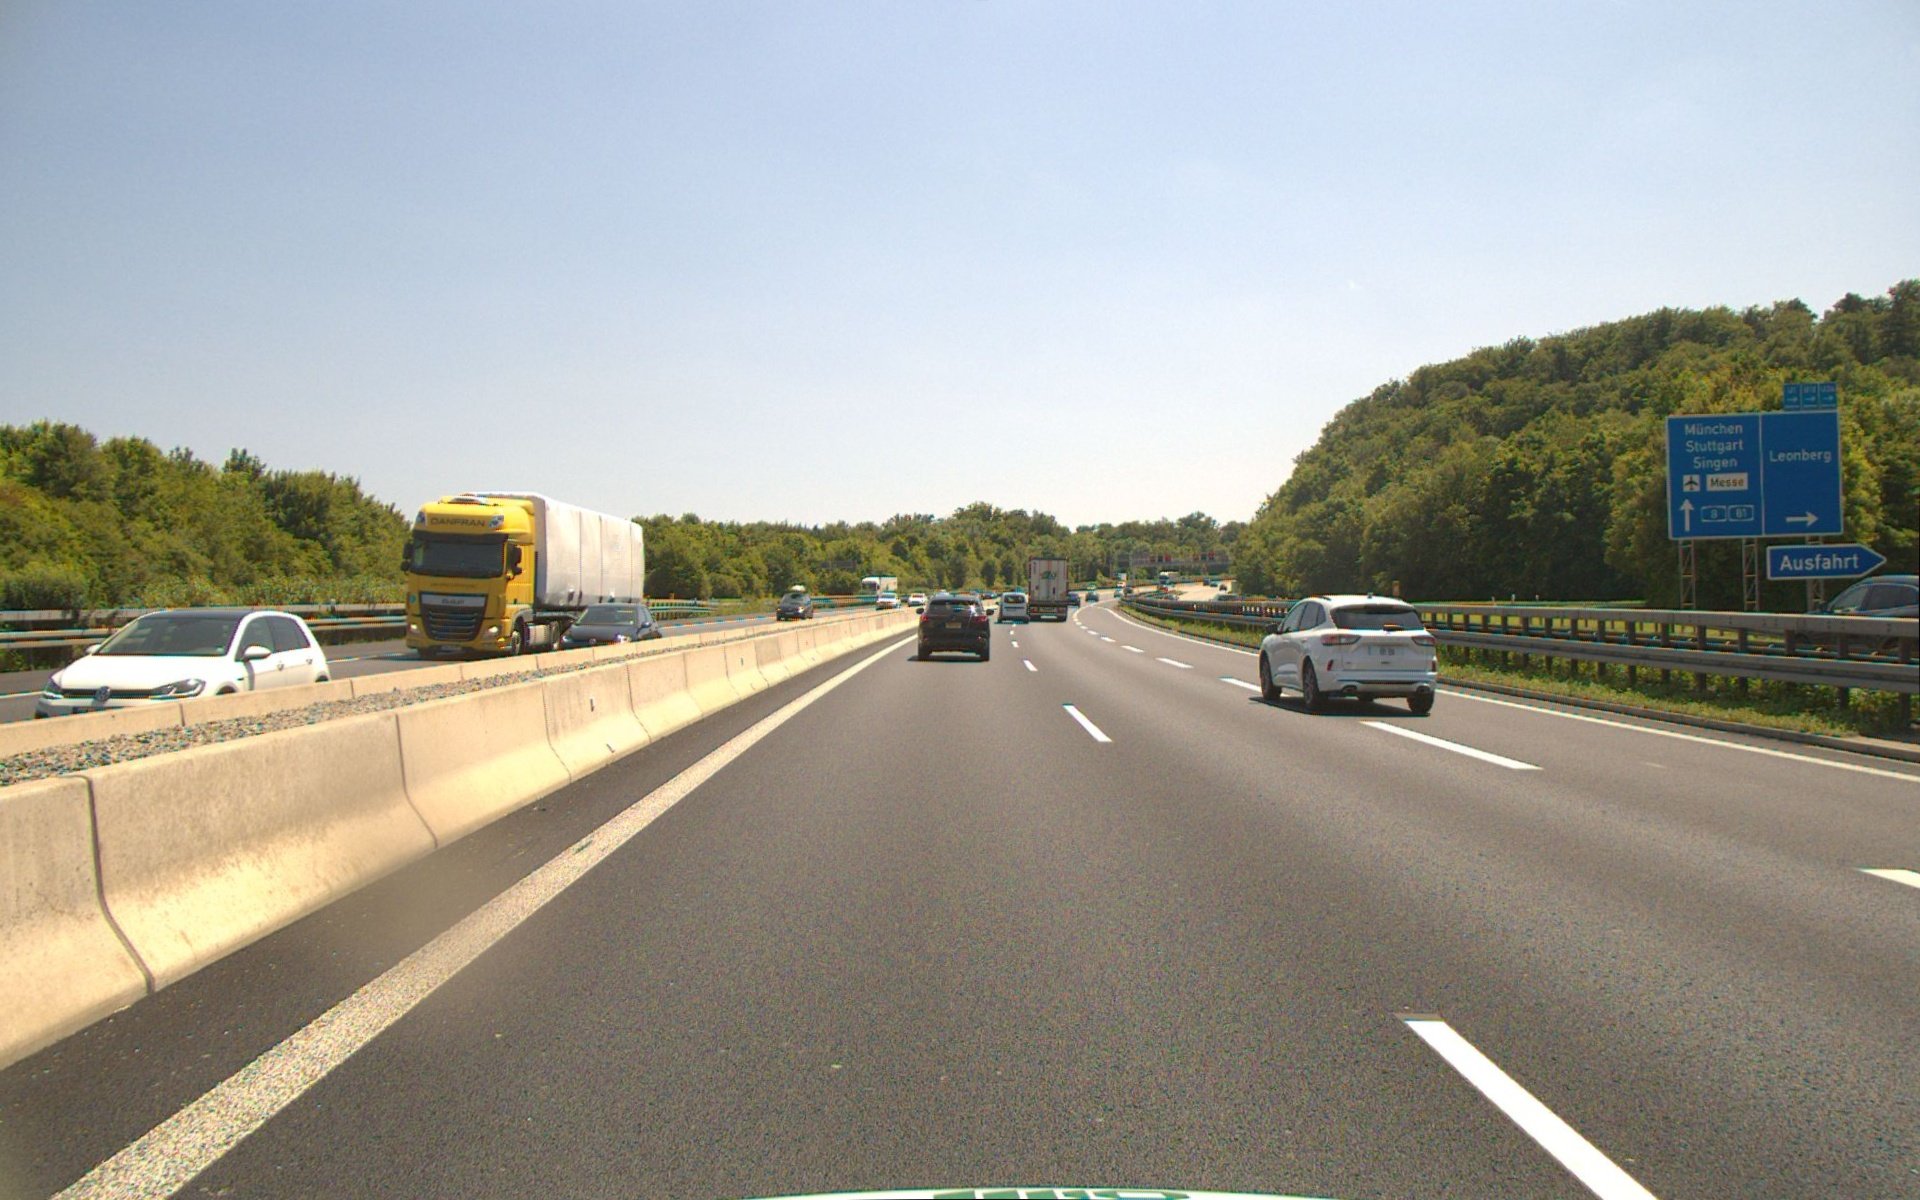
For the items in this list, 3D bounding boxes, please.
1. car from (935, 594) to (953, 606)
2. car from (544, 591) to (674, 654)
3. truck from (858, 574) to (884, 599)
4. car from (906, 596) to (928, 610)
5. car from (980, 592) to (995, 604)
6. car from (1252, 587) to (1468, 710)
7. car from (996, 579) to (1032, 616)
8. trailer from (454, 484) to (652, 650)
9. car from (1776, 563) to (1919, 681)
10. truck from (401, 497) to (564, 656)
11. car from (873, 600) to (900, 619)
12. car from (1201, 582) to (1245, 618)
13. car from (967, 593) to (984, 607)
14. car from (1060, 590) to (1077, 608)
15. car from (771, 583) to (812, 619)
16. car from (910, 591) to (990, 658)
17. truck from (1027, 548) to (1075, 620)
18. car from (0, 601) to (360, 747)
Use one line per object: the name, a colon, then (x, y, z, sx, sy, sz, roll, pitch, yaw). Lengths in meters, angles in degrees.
car: (-1.982, -0.003, 203.423, 1.811, 1.419, 4.002, 2, 0, 4)
car: (-8.127, 0.500, 38.689, 1.952, 1.373, 4.260, 0, 0, 2)
truck: (-12.935, -1.955, 241.300, 3.018, 3.565, 5.413, 0, 0, 6)
car: (-4.634, 0.332, 178.044, 1.952, 1.570, 5.043, 0, 0, 3)
car: (4.225, -0.294, 251.404, 1.951, 1.856, 4.908, 0, 0, 4)
car: (5.937, 0.684, 25.127, 1.954, 1.691, 4.464, 0, 0, -4)
car: (3.228, -0.167, 98.253, 1.952, 2.048, 4.002, -3, 0, 3)
trailer: (-11.971, -0.858, 50.240, 2.662, 4.387, 12.825, 0, 0, 1)
car: (14.625, 0.325, 24.609, 1.954, 1.691, 5.622, 0, 0, -3)
truck: (-12.090, -0.569, 42.315, 2.693, 3.820, 4.866, 0, 0, 0)
car: (-6.582, 0.844, 148.509, 1.829, 1.695, 4.666, 0, 0, 5)
car: (16.018, -0.013, 101.005, 1.953, 2.049, 4.000, -2, 0, -1)
car: (1.922, 0.035, 203.428, 1.952, 1.688, 4.636, 0, 0, 3)
car: (12.376, -0.102, 188.906, 1.952, 2.049, 4.001, 0, 0, 3)
car: (-10.222, 0.033, 100.429, 1.952, 2.117, 4.704, 0, 0, 0)
car: (-0.291, 0.596, 41.769, 1.744, 1.605, 3.996, 0, 0, -4)
truck: (6.156, -0.984, 110.458, 2.968, 4.496, 12.024, 0, 0, 4)
car: (-8.476, 0.721, 18.430, 1.953, 1.398, 4.661, 0, 0, -1)
